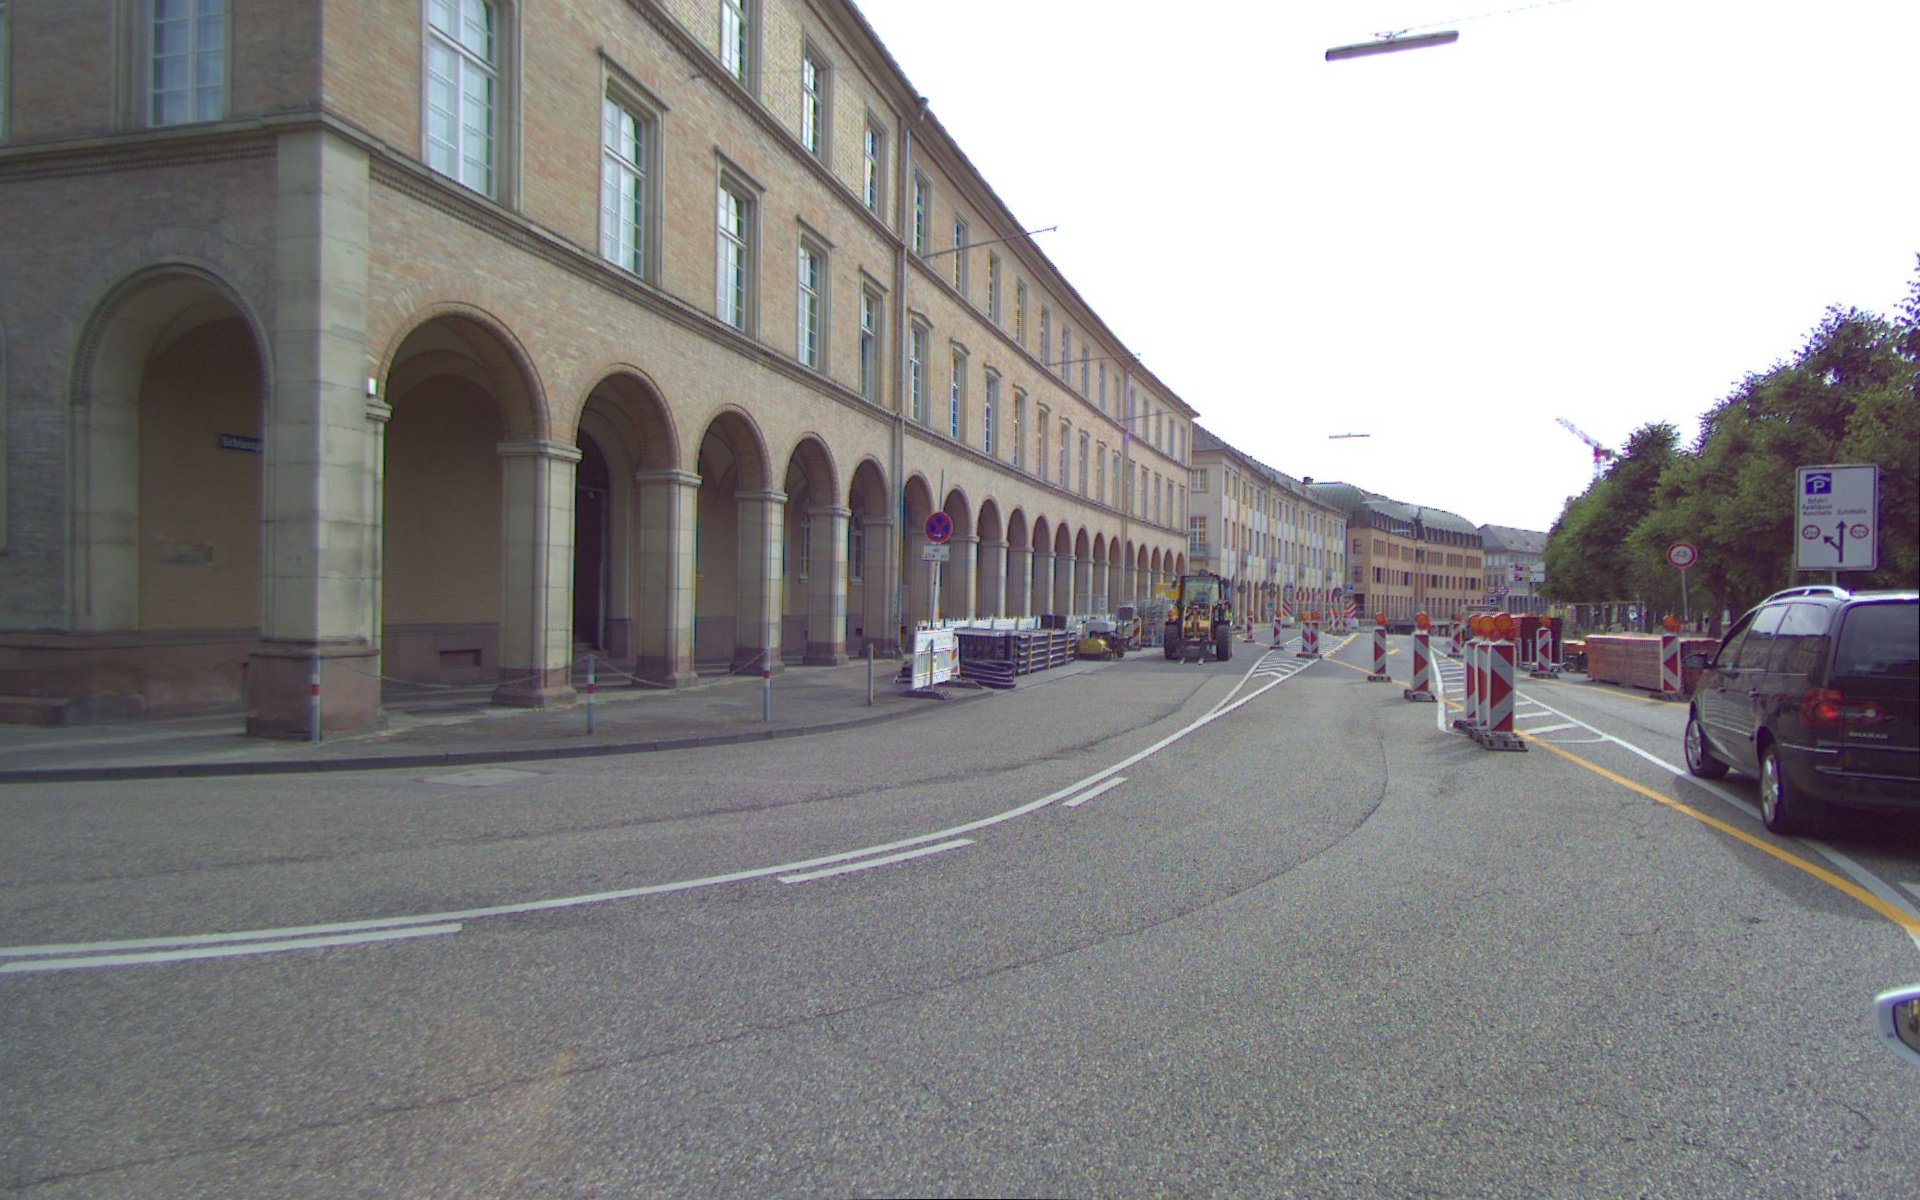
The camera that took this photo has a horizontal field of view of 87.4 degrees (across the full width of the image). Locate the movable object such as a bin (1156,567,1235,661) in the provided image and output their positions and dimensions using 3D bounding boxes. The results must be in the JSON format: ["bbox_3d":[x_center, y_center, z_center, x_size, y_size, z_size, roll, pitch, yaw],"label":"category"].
[{"bbox_3d":[7.599,0.440,32.083,2.080,2.754,4.620,1,0,18],"label":"movable object such as a bin"}]

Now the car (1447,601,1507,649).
[{"bbox_3d":[24.469,1.117,47.673,1.961,2.041,4.343,1,2,20],"label":"car"}]

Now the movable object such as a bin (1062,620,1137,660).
[{"bbox_3d":[4.356,1.225,31.094,1.777,1.139,2.748,1,-2,19],"label":"movable object such as a bin"}]

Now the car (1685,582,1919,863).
[{"bbox_3d":[7.078,0.772,7.897,1.767,1.731,4.123,1,0,30],"label":"car"}]
